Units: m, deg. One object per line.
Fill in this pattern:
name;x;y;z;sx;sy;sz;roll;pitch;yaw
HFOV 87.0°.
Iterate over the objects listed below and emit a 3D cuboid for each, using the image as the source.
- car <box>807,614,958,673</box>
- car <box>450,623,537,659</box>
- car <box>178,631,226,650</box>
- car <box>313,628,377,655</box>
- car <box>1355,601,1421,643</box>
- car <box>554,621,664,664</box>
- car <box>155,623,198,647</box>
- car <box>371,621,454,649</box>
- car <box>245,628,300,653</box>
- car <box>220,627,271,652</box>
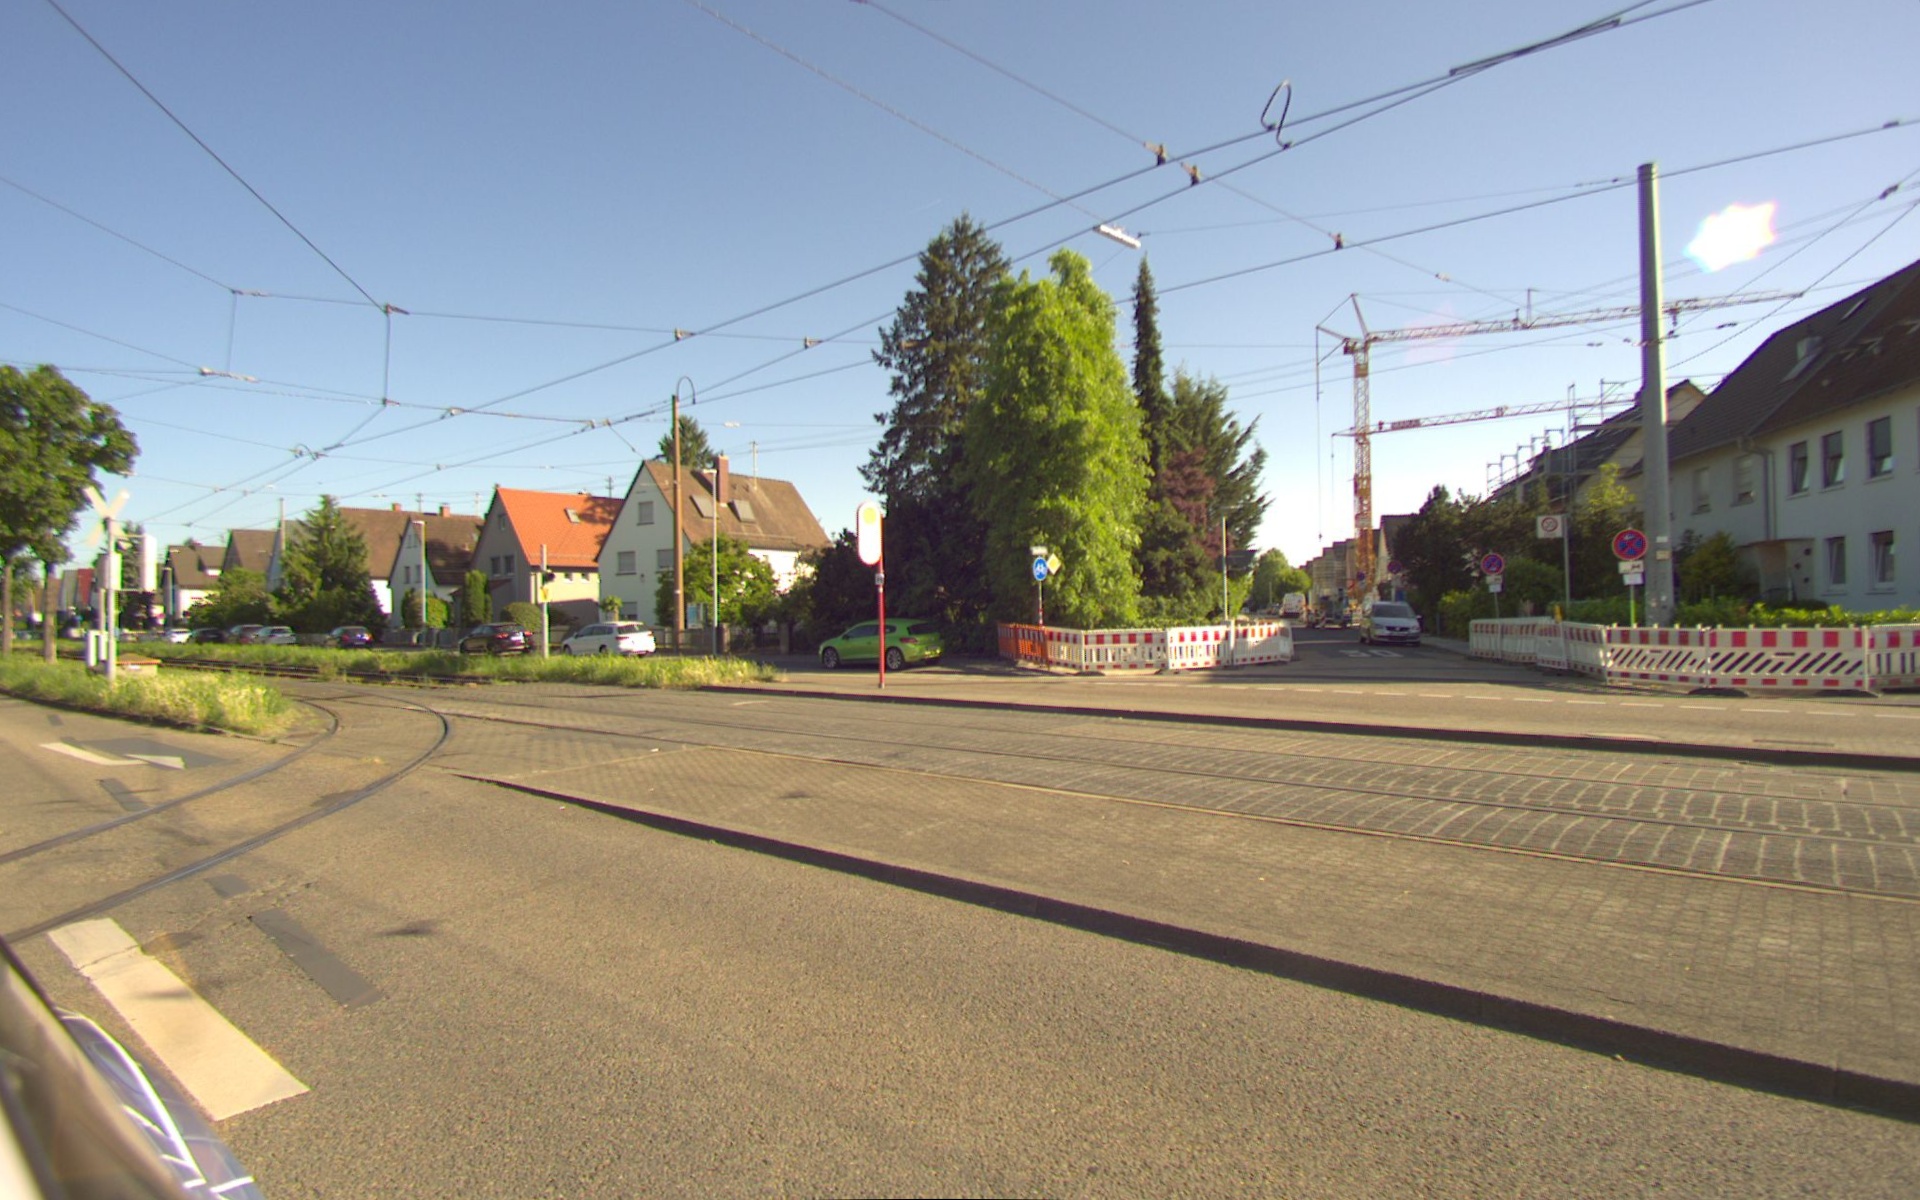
car;-2.297;1.239;29.454;4.061;1.512;1.976;-1;1;36
car;-21.020;1.813;45.514;4.438;1.477;1.887;-1;1;41
car;-58.461;3.101;78.015;4.980;1.351;1.973;-1;1;41
car;-35.128;2.357;57.754;4.308;1.382;1.972;-2;-1;42
car;16.095;0.778;38.223;1.732;1.418;4.467;-2;0;16
car;-13.586;1.612;39.066;4.610;1.483;1.865;-1;1;40
car;-65.043;2.922;83.945;4.582;1.877;1.973;-2;-1;41
car;-35.621;2.250;65.916;1.746;1.481;4.434;-1;2;39
car;-45.679;2.665;67.208;4.837;1.483;1.864;-2;1;42
car;-49.668;2.726;70.314;4.534;1.572;1.864;-2;1;41
